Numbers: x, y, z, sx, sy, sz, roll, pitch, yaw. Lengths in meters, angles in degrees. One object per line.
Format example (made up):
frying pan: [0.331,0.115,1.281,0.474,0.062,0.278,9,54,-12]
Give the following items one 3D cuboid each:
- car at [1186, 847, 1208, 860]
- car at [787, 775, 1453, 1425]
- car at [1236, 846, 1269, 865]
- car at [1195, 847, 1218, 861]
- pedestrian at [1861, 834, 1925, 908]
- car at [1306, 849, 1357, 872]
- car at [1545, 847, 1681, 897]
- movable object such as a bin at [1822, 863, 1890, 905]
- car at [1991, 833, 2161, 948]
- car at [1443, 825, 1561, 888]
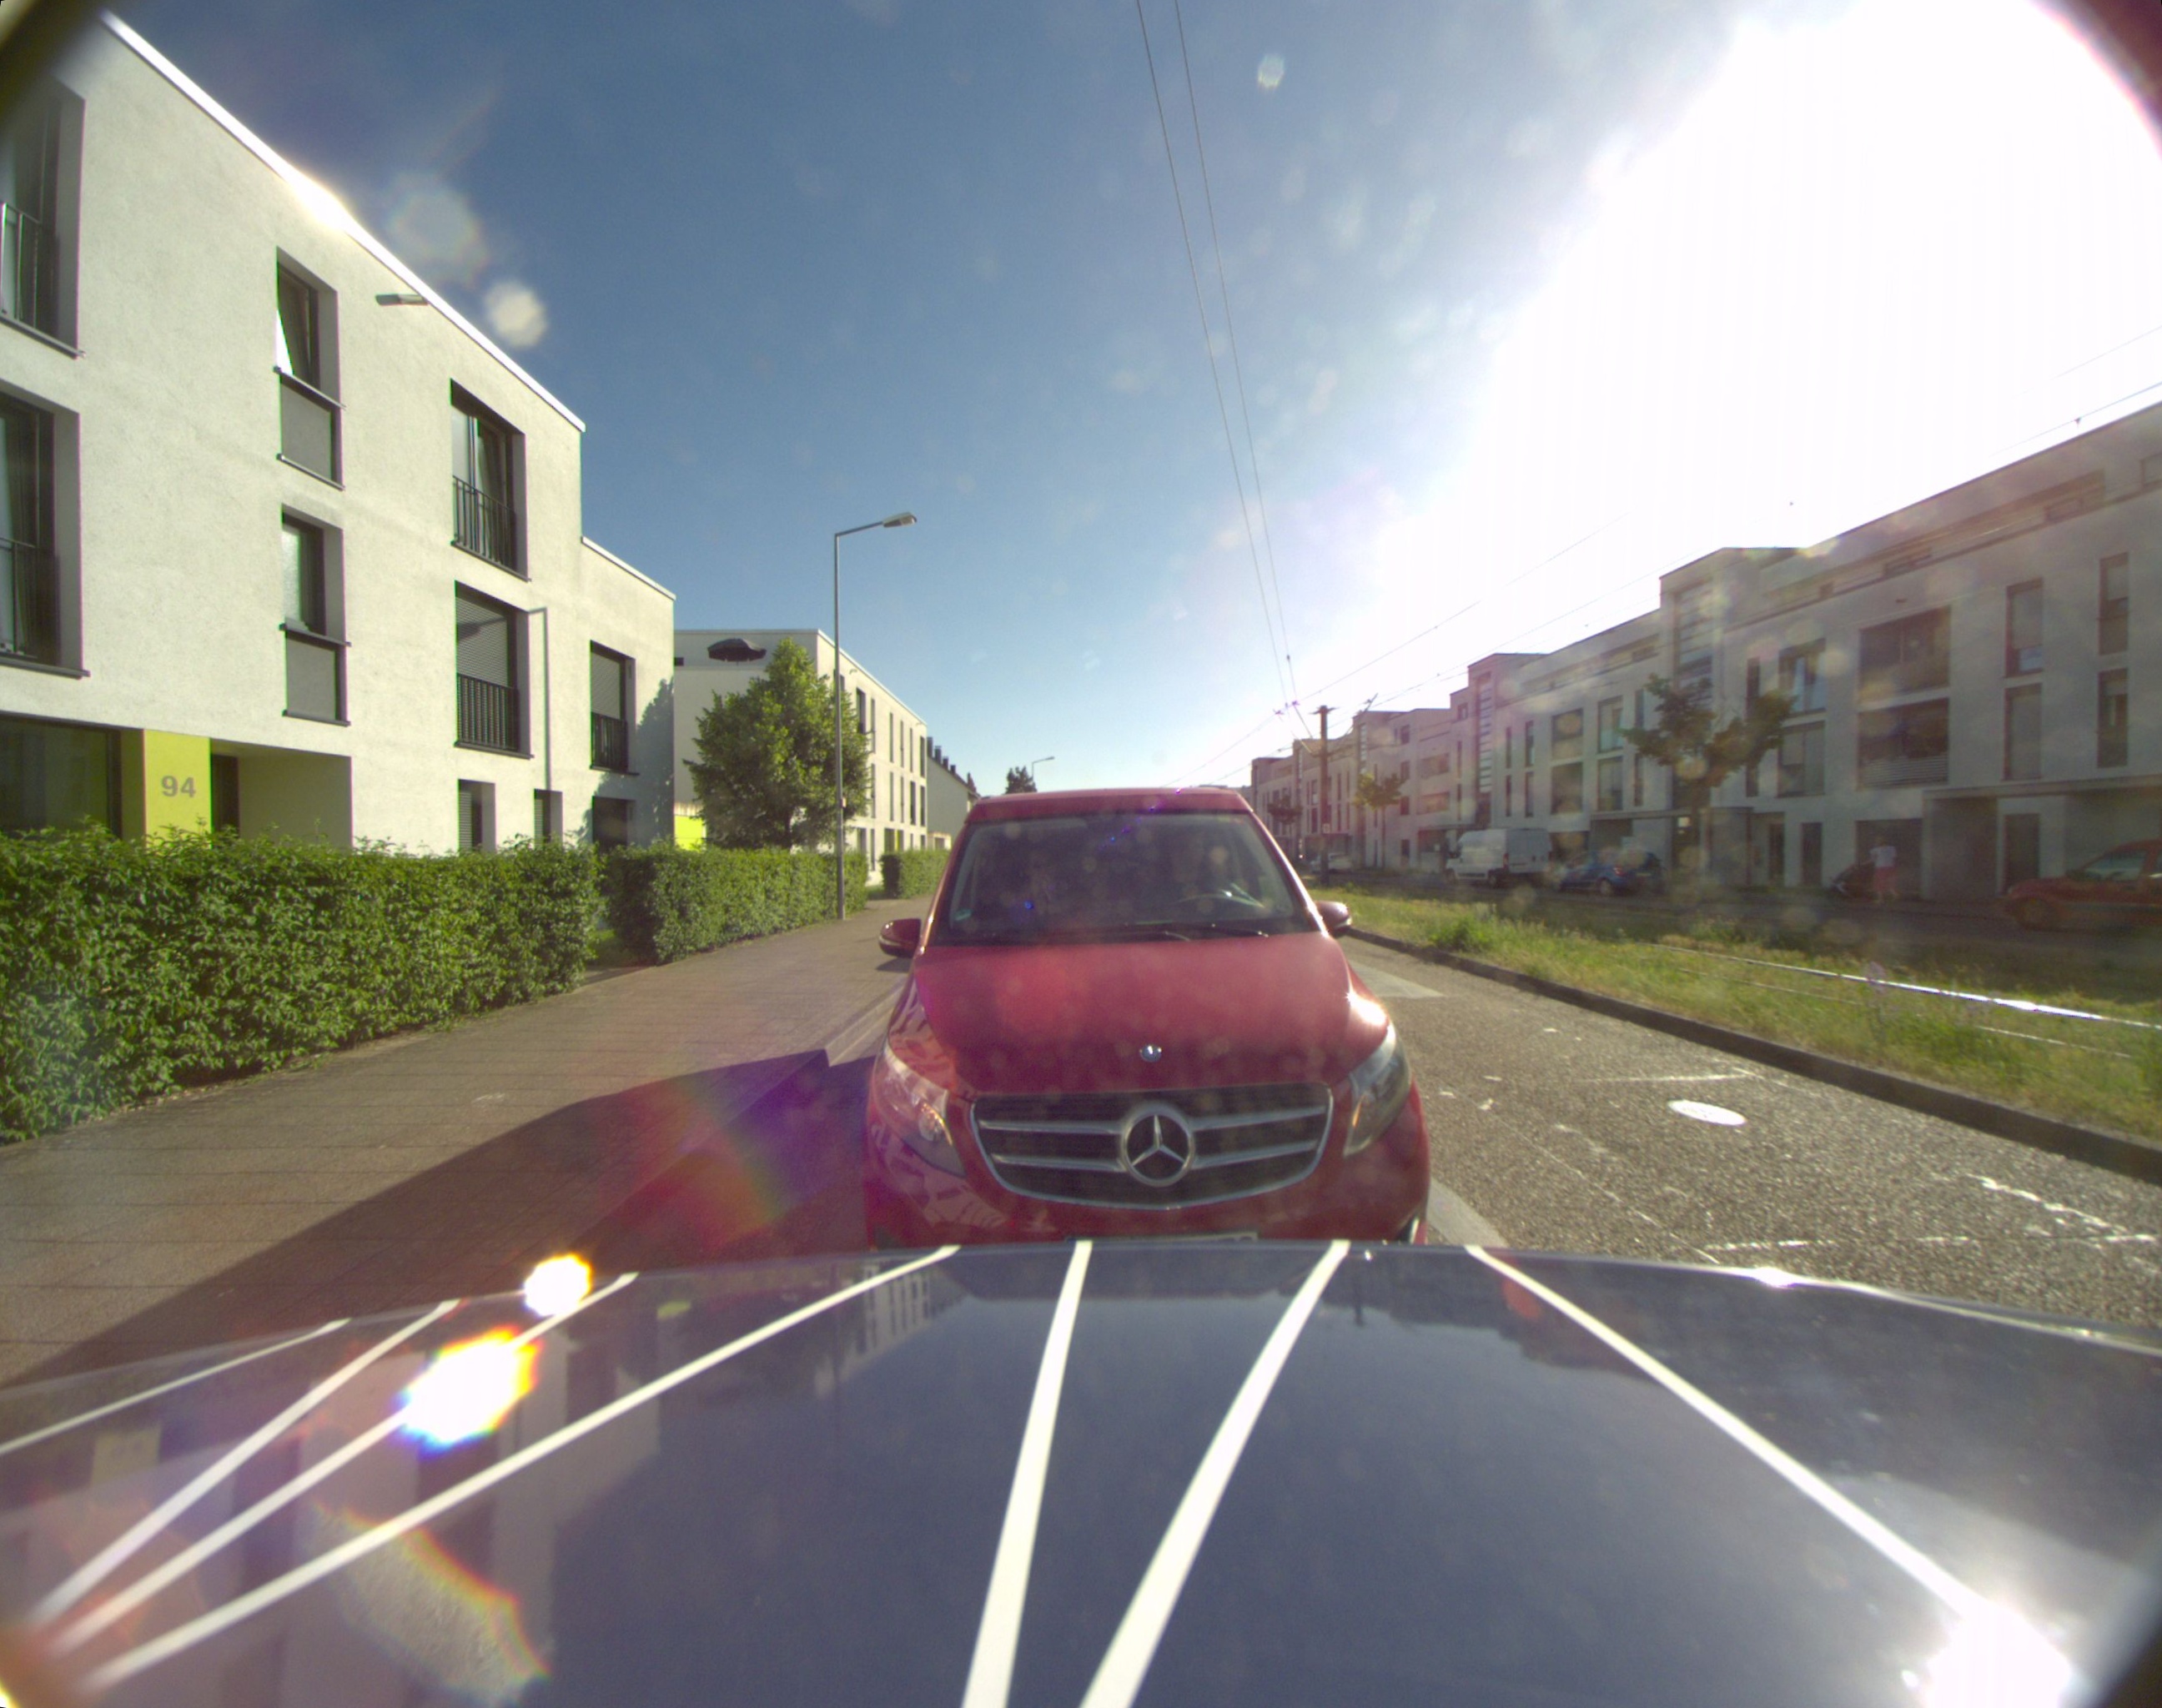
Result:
car: [15.180,-0.063,99.643,1.923,1.671,4.282,-2,1,-4]
car: [0.148,0.702,4.466,1.874,1.843,4.506,-2,1,1]
car: [16.713,0.131,74.340,1.923,1.671,4.282,-2,1,-4]
car: [15.467,-0.040,93.892,1.923,1.671,4.282,-2,1,-4]
pedestrian: [20.710,0.417,19.403,0.776,1.812,0.785,-2,1,1]
car: [17.629,0.414,53.726,1.923,1.497,4.282,-2,1,-4]
car: [18.373,0.576,26.486,1.999,1.536,3.835,-2,1,0]
movable object such as a bin: [20.731,0.786,20.350,0.729,1.048,1.083,-2,1,1]
car: [18.613,0.579,12.795,1.998,1.817,3.895,-2,1,3]
car: [18.165,0.074,33.157,2.225,2.458,5.195,-2,1,0]
